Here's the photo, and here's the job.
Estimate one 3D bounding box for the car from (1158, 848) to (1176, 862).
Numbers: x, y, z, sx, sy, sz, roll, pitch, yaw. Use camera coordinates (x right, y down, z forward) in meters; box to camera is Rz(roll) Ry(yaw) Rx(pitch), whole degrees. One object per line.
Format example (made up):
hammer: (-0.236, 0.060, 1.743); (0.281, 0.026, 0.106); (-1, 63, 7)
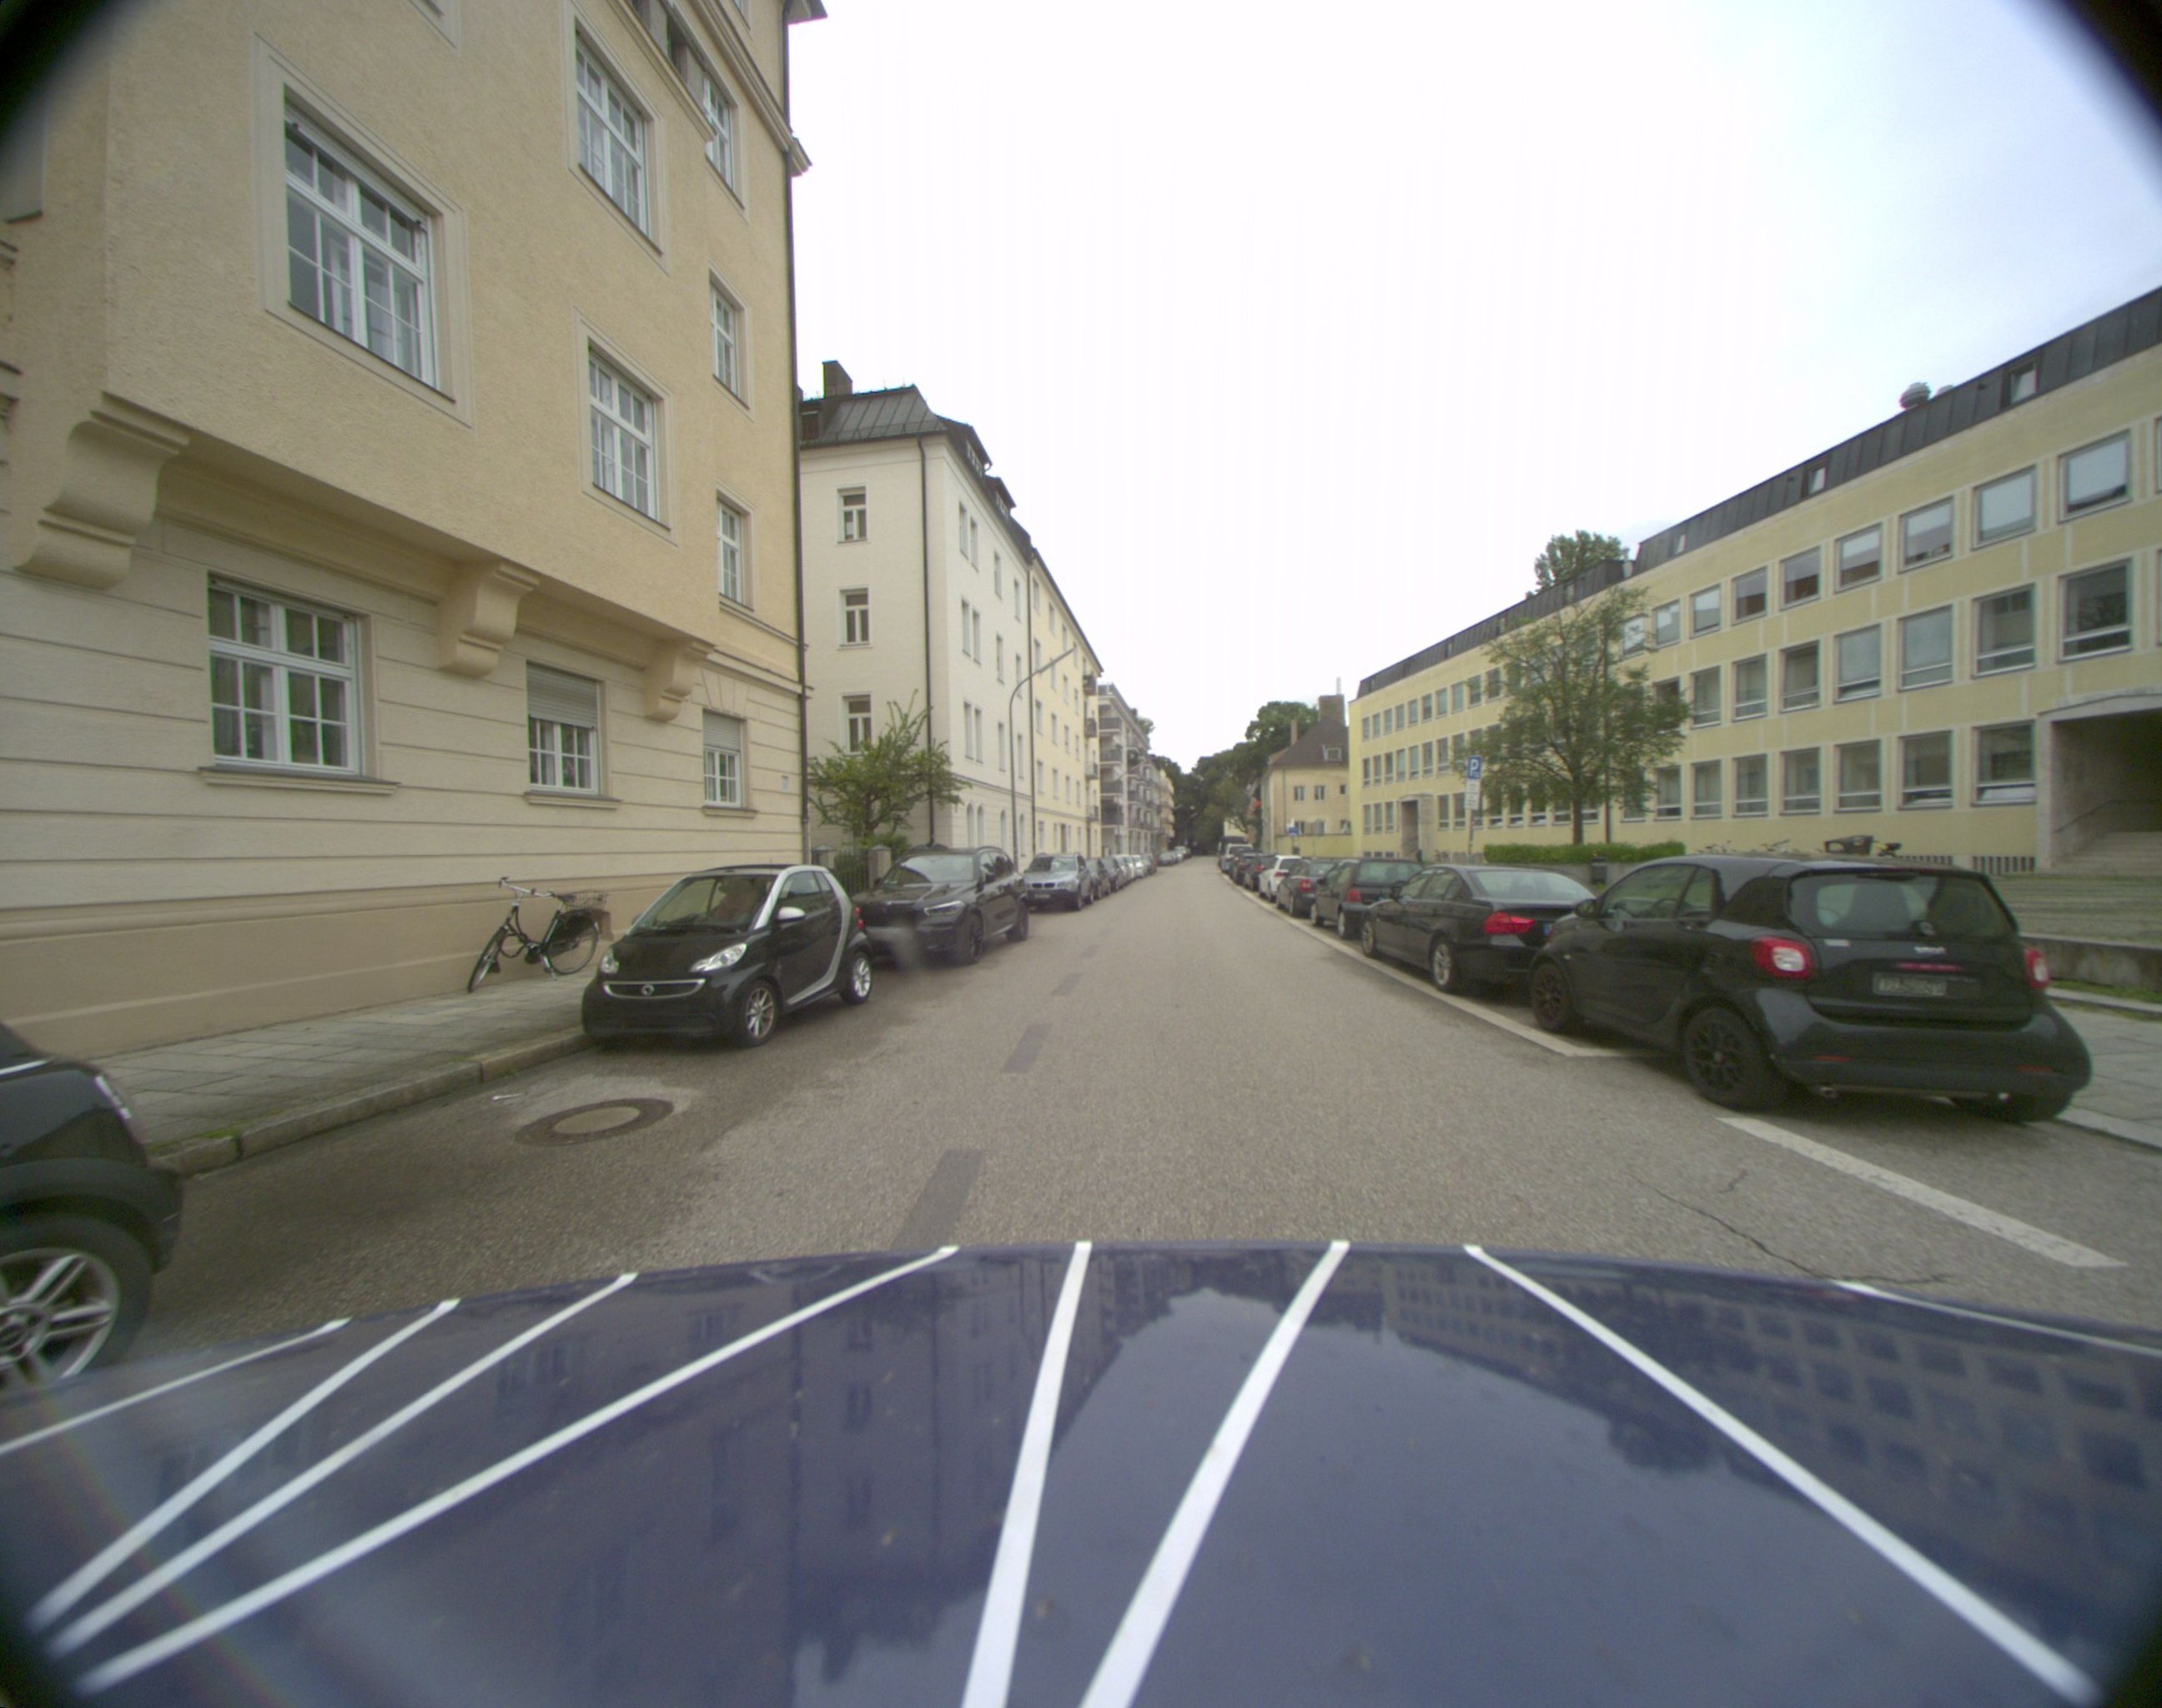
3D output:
car: (9.216, 0.123, 81.327); (1.783, 1.386, 4.248); (-1, 1, 6)

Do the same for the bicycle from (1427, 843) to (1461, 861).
bicycle: (23.024, -0.139, 48.194); (1.953, 1.008, 0.580); (-3, 1, -8)

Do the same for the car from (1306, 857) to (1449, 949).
car: (5.358, 0.815, 14.156); (1.660, 1.445, 3.313); (0, 1, 6)

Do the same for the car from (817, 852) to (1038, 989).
car: (-2.196, 0.888, 12.517); (1.872, 1.707, 4.868); (-3, 1, 9)

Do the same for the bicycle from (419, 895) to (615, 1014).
bicycle: (-6.384, 1.077, 8.754); (0.580, 1.077, 1.954); (1, 1, 9)

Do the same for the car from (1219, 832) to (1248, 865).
car: (12.671, -0.445, 63.313); (2.301, 2.630, 5.657); (0, 1, 11)

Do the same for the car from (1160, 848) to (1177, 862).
car: (9.946, 0.102, 86.025); (1.765, 1.449, 3.420); (-1, 1, 9)

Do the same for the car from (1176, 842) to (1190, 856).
car: (15.795, -0.764, 117.291); (1.870, 2.002, 4.271); (-1, 1, 11)

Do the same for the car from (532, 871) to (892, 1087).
car: (-3.270, 1.020, 7.419); (1.537, 1.515, 3.112); (-3, 1, 11)

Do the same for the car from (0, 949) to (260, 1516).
car: (-3.999, 1.108, 0.826); (1.711, 1.439, 3.832); (-3, 1, 10)

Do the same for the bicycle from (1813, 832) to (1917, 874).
bicycle: (24.957, -0.039, 24.215); (2.442, 1.241, 1.056); (-2, 1, -8)

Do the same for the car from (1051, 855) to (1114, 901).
car: (0.132, 0.817, 27.644); (1.682, 1.419, 4.089); (-1, 1, 9)

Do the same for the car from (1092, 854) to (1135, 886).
car: (1.658, 0.759, 37.592); (1.682, 1.419, 4.169); (-1, 1, 8)

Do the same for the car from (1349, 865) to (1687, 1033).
car: (4.788, 0.903, 9.207); (1.803, 1.398, 4.456); (0, 1, 5)

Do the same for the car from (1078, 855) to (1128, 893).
car: (1.007, 0.802, 32.729); (1.682, 1.419, 4.393); (-1, 1, 8)

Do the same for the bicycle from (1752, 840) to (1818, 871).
bicycle: (24.863, 0.047, 26.838); (1.953, 1.008, 0.625); (-2, 1, -8)

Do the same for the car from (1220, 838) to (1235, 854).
car: (22.502, -1.237, 116.843); (2.103, 2.418, 4.552); (-1, 1, 12)

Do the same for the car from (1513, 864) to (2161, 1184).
car: (4.633, 0.863, 5.266); (1.674, 1.493, 2.978); (0, 1, 3)

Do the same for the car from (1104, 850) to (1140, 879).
car: (2.365, 0.556, 42.991); (1.682, 1.473, 4.169); (-1, 1, 8)

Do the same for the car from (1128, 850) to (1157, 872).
car: (4.303, 0.431, 52.870); (1.682, 1.402, 4.424); (-1, 1, 8)

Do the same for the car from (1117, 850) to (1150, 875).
car: (3.330, 0.523, 47.626); (1.682, 1.402, 4.445); (-1, 1, 8)

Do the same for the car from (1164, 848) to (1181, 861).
car: (10.927, 0.019, 90.532); (1.765, 1.449, 3.749); (-1, 1, 9)

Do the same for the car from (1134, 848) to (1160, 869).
car: (5.091, 0.348, 58.220); (1.682, 1.489, 3.826); (-1, 1, 8)

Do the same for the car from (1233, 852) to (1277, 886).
car: (7.991, 0.635, 35.188); (1.683, 1.445, 3.872); (1, 1, 8)

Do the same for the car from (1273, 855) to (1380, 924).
car: (5.895, 0.769, 18.749); (1.758, 1.445, 4.398); (1, 1, 8)

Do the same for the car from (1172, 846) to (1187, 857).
car: (14.115, -0.367, 108.780); (1.764, 1.449, 3.750); (-1, 1, 13)

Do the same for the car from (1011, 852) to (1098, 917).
car: (-0.663, 0.817, 22.355); (1.725, 1.625, 4.460); (-1, 1, 9)

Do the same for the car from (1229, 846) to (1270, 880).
car: (8.847, 0.416, 40.266); (1.747, 1.656, 4.451); (2, 1, 8)

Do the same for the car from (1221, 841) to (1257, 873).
car: (10.406, 0.156, 50.403); (1.932, 1.968, 5.024); (0, 1, 7)

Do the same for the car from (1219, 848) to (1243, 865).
car: (13.451, 0.211, 68.355); (1.705, 1.485, 3.491); (-1, 1, 5)

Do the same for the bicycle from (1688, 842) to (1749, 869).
bicycle: (24.495, 0.055, 29.202); (1.953, 1.008, 0.625); (-2, 1, -8)

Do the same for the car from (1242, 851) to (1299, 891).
car: (7.469, 0.626, 30.208); (1.660, 1.445, 3.976); (0, 1, 6)

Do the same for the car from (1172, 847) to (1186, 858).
car: (13.174, -0.232, 102.289); (1.765, 1.449, 3.749); (-1, 1, 9)

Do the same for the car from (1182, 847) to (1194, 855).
car: (18.786, -0.532, 132.809); (1.870, 1.455, 4.271); (-1, 1, 11)

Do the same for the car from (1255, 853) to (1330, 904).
car: (6.636, 0.709, 24.248); (1.660, 1.445, 4.074); (0, 1, 6)
